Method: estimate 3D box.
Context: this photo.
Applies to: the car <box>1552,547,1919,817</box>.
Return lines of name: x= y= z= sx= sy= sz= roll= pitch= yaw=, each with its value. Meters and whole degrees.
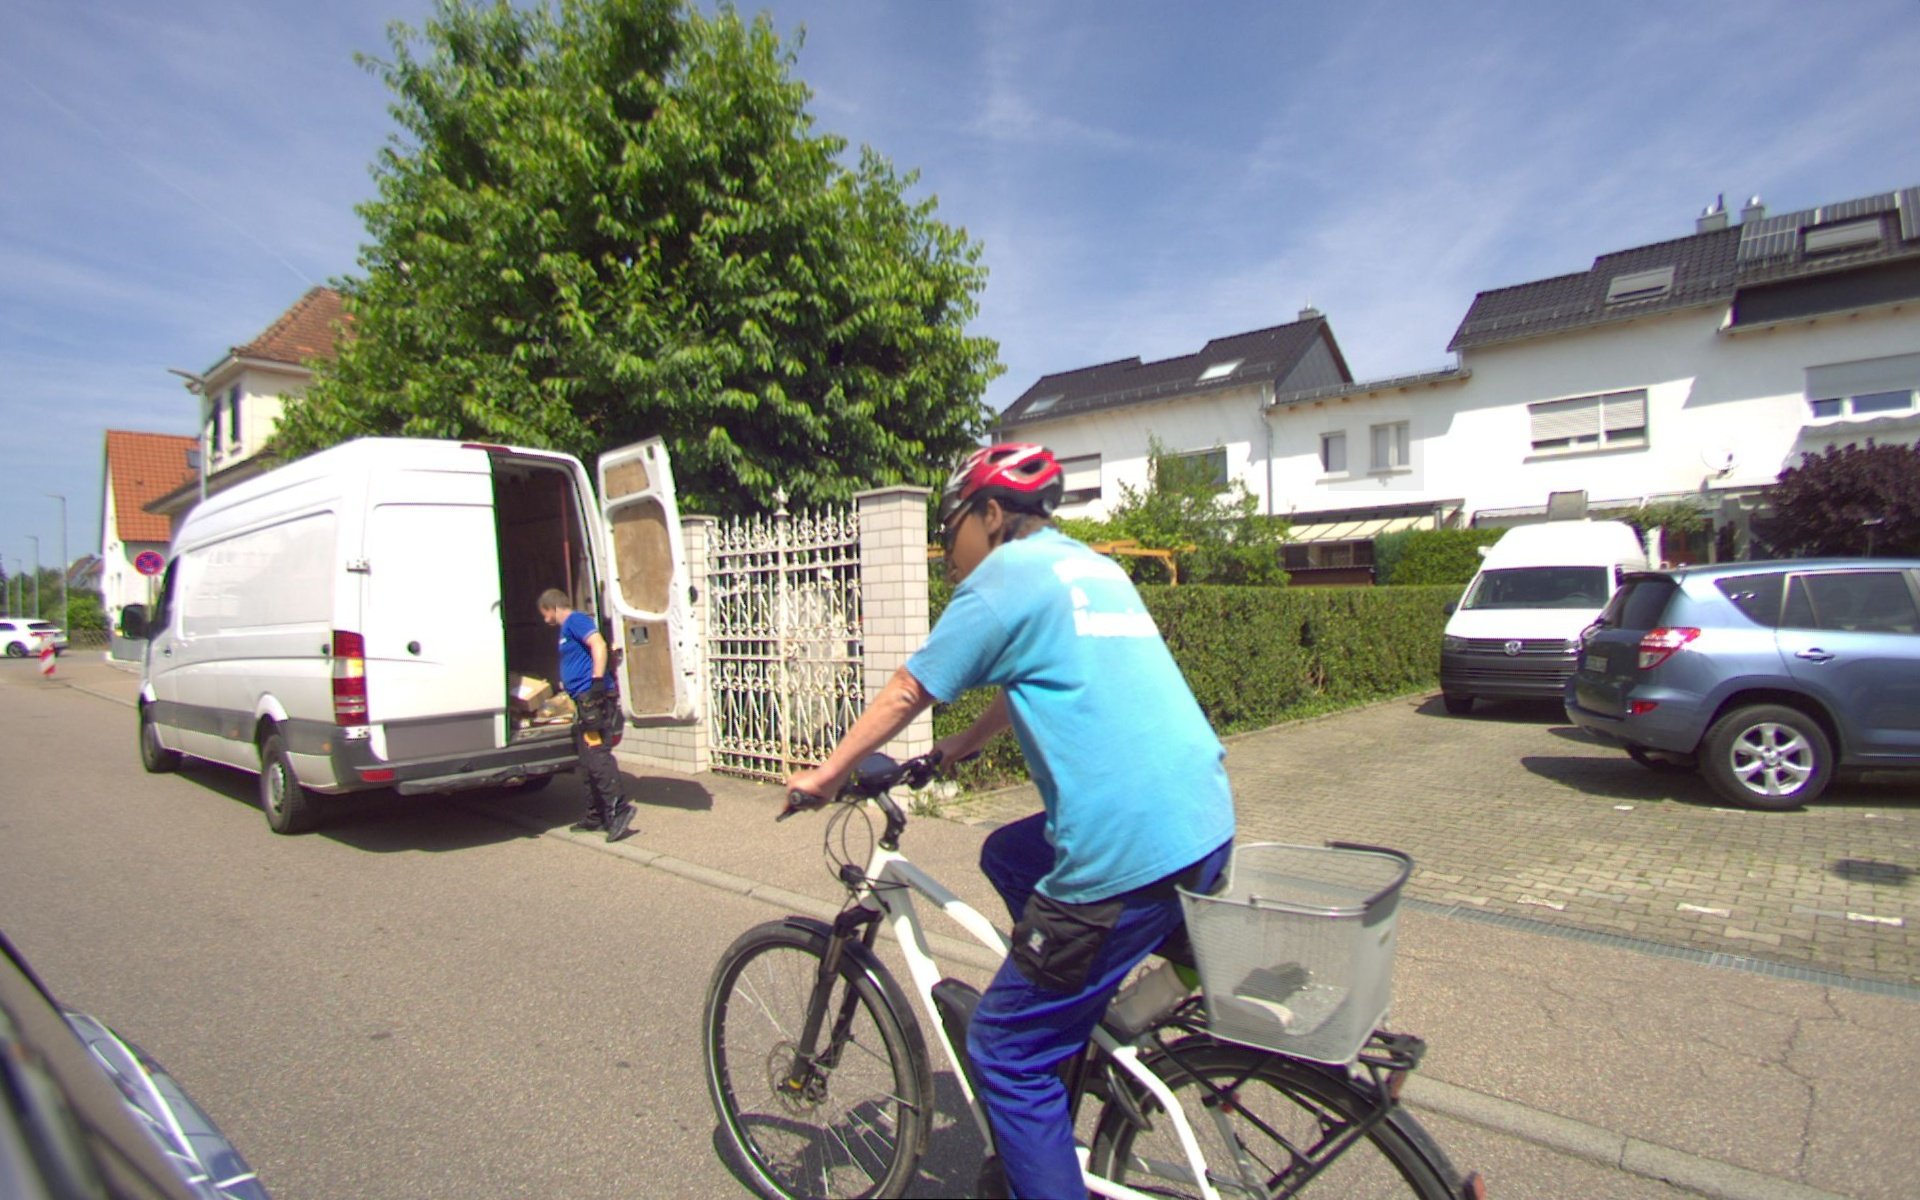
car: x=6.615 y=0.513 z=7.084 sx=3.905 sy=1.691 sz=1.764 roll=-1 pitch=-1 yaw=17

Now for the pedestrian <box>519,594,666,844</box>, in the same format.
pedestrian: x=-2.435 y=0.742 z=6.710 sx=0.725 sy=1.529 sz=0.566 roll=-1 pitch=2 yaw=40

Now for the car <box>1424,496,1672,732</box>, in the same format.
car: x=7.837 y=0.169 z=13.243 sx=1.964 sy=2.511 sz=4.753 roll=-1 pitch=-1 yaw=40

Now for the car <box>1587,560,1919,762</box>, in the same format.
car: x=8.304 y=0.513 z=9.300 sx=4.084 sy=1.691 sz=1.719 roll=-1 pitch=-1 yaw=25

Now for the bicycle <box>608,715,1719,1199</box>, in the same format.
bicycle: x=0.156 y=0.894 z=2.062 sx=2.188 sy=1.141 sz=0.663 roll=-1 pitch=-2 yaw=41

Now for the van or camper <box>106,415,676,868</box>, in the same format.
van or camper: x=-5.380 y=0.289 z=8.857 sx=6.803 sy=2.591 sz=2.162 roll=-2 pitch=0 yaw=41

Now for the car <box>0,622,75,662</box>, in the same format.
car: x=-35.760 y=1.577 z=37.291 sx=4.424 sy=1.408 sz=1.932 roll=-1 pitch=0 yaw=-6

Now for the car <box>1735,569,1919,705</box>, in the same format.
car: x=12.724 y=0.438 z=13.452 sx=3.319 sy=1.691 sz=1.768 roll=-2 pitch=0 yaw=11

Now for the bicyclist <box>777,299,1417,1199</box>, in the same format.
bicyclist: x=0.248 y=0.514 z=1.904 sx=0.941 sy=1.812 sz=0.706 roll=-1 pitch=-1 yaw=40
